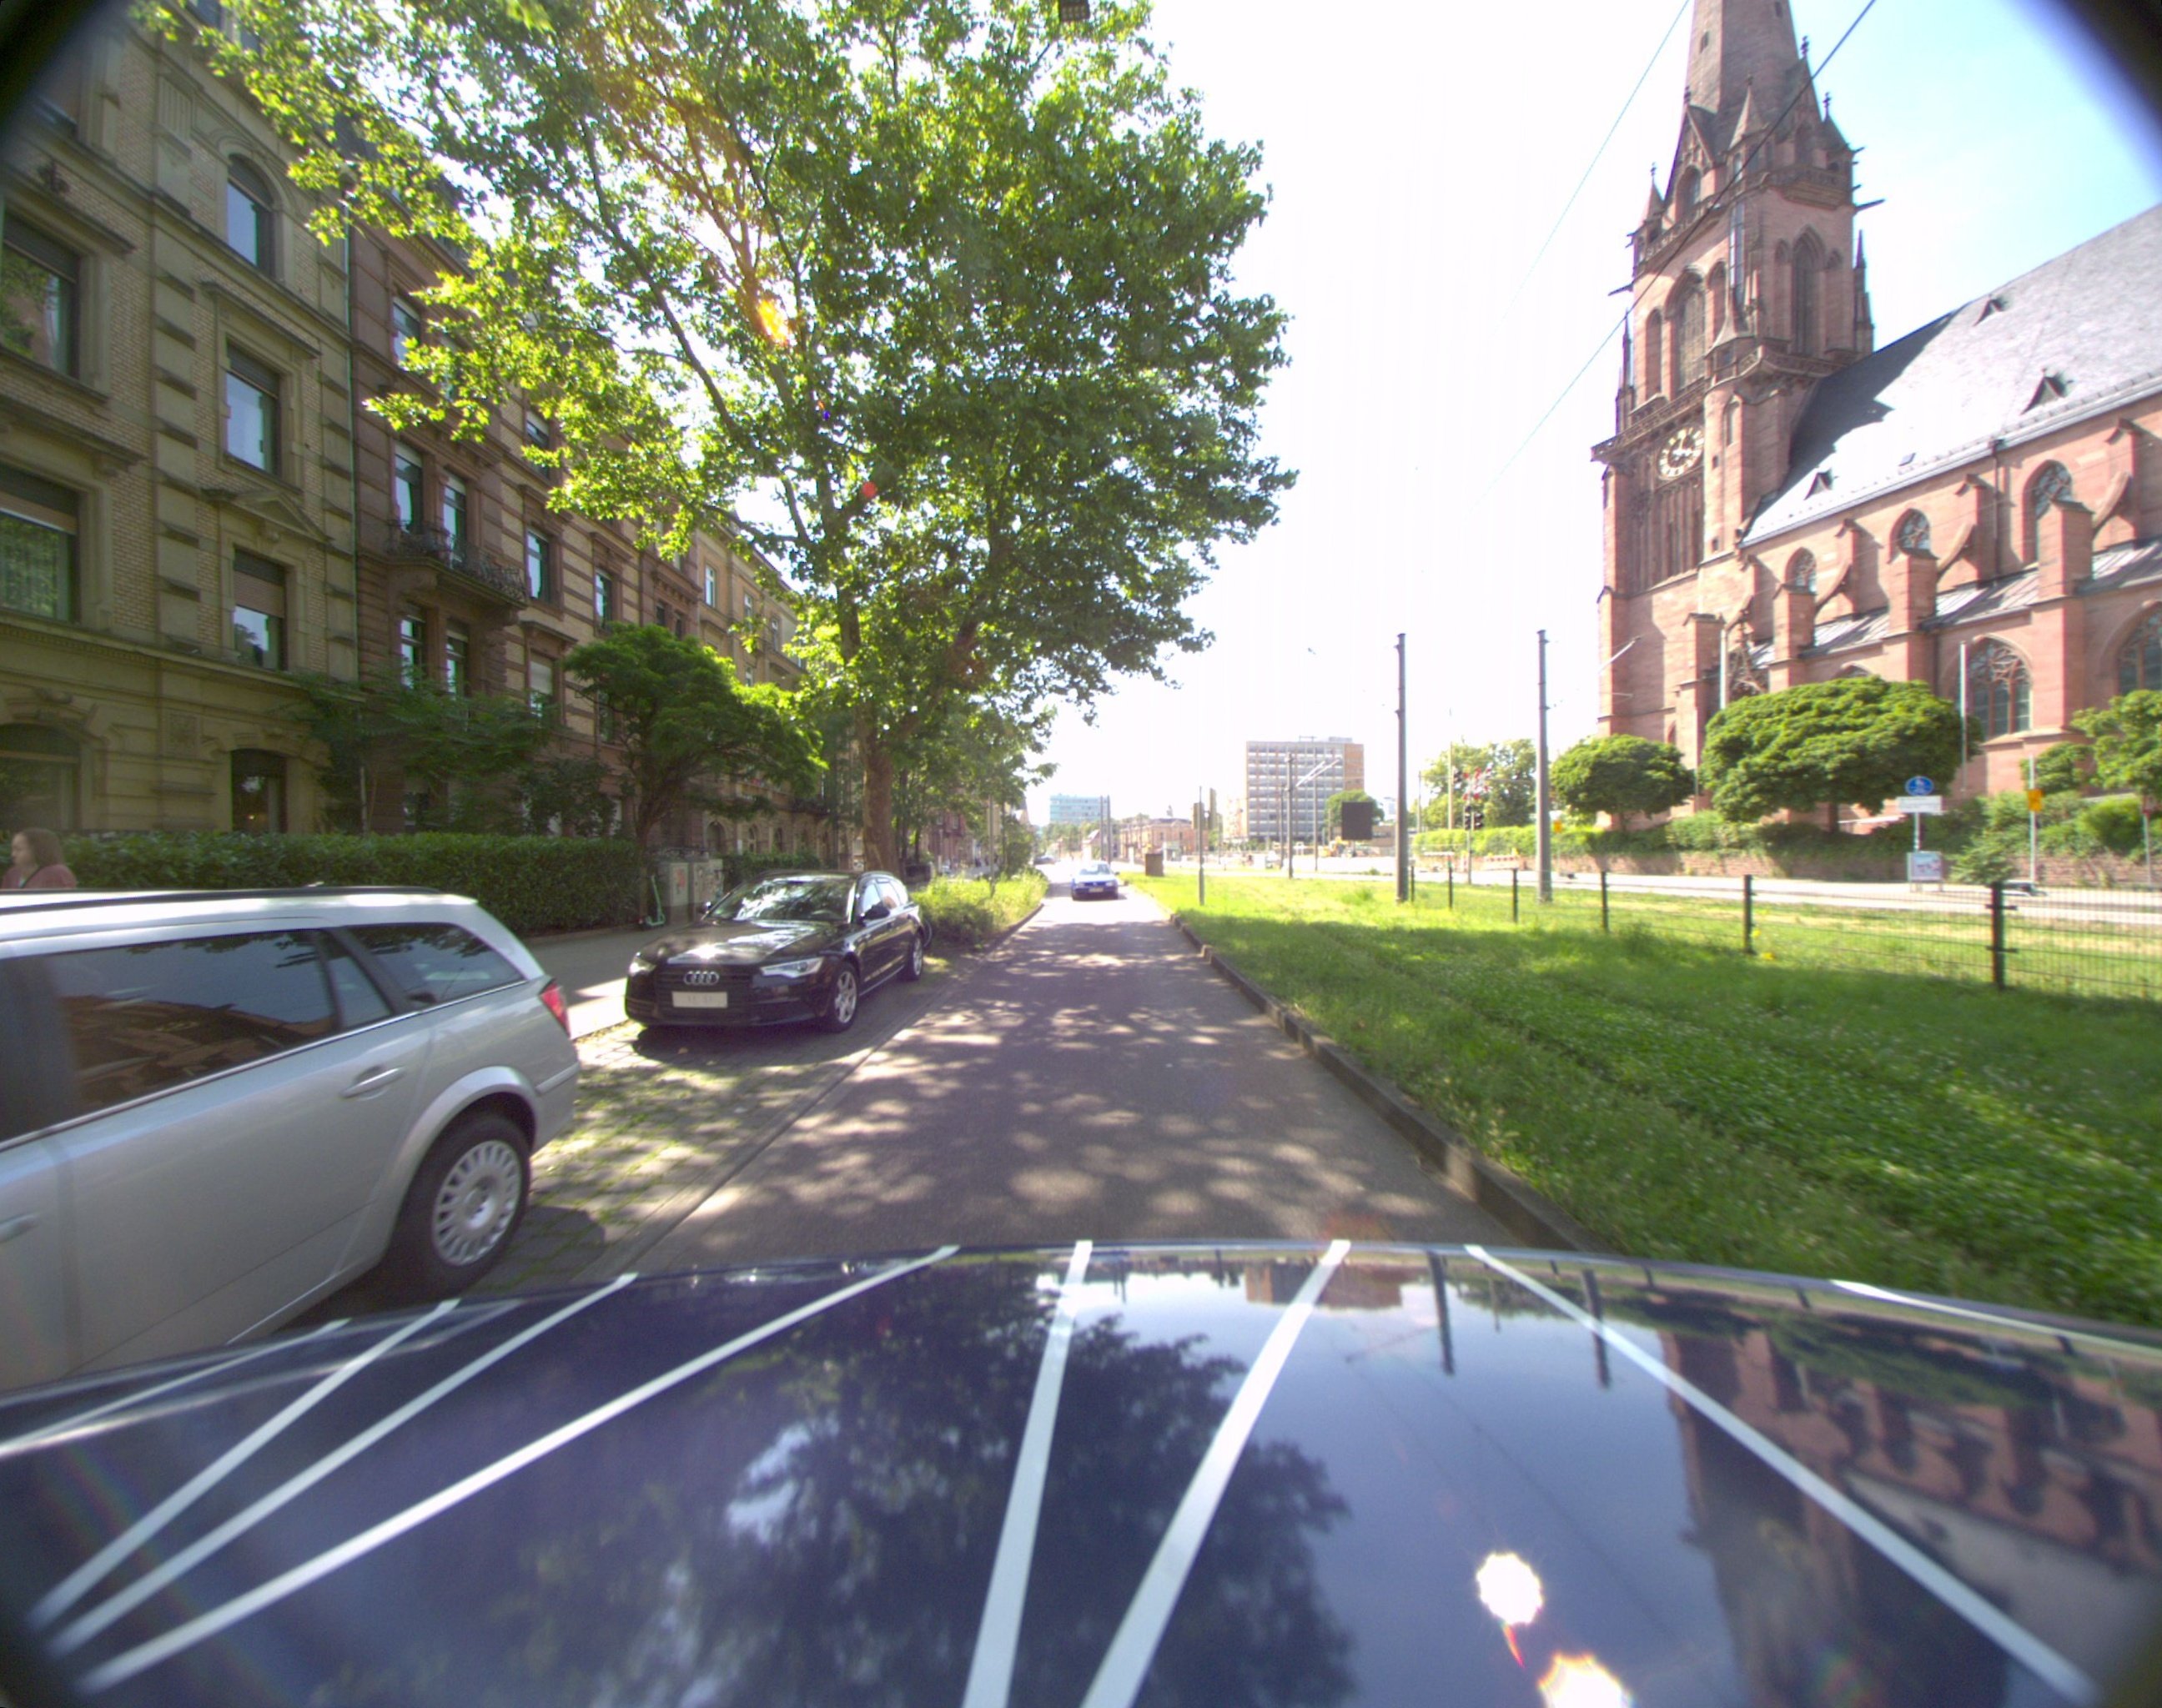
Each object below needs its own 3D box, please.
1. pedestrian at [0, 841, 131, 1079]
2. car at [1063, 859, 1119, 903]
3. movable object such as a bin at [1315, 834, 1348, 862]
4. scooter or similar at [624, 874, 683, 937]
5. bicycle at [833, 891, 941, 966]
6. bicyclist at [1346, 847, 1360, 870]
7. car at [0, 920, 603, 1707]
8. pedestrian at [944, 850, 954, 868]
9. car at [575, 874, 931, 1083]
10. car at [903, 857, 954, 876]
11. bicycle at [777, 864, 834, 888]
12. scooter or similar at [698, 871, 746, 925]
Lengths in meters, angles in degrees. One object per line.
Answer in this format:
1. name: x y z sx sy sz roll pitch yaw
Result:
1. pedestrian: -8.454 0.791 6.033 0.738 1.775 0.852 1 1 -1
2. car: 0.435 0.951 28.510 1.886 1.401 4.093 -3 0 2
3. movable object such as a bin: 35.537 -0.821 107.771 3.341 3.859 2.931 -1 1 -34
4. scooter or similar: -8.966 1.055 15.984 0.583 1.240 1.145 0 0 0
5. bicycle: -3.151 1.187 12.404 1.641 1.082 0.470 -1 1 -33
6. bicyclist: 21.158 0.340 59.133 0.646 1.752 0.792 -1 1 -30
7. car: -3.096 1.080 1.366 1.838 1.499 4.490 0 0 -4
8. pedestrian: -12.809 0.479 73.629 0.797 1.708 0.967 -1 1 -1
9. car: -3.039 1.040 8.302 1.838 1.499 4.643 0 0 0
10. car: -12.503 0.987 62.528 4.093 1.507 1.886 0 0 -9
11. bicycle: -13.492 1.065 37.284 2.583 1.105 1.111 0 0 -20
12. scooter or similar: -8.817 1.060 18.708 0.583 1.275 1.145 0 0 2
